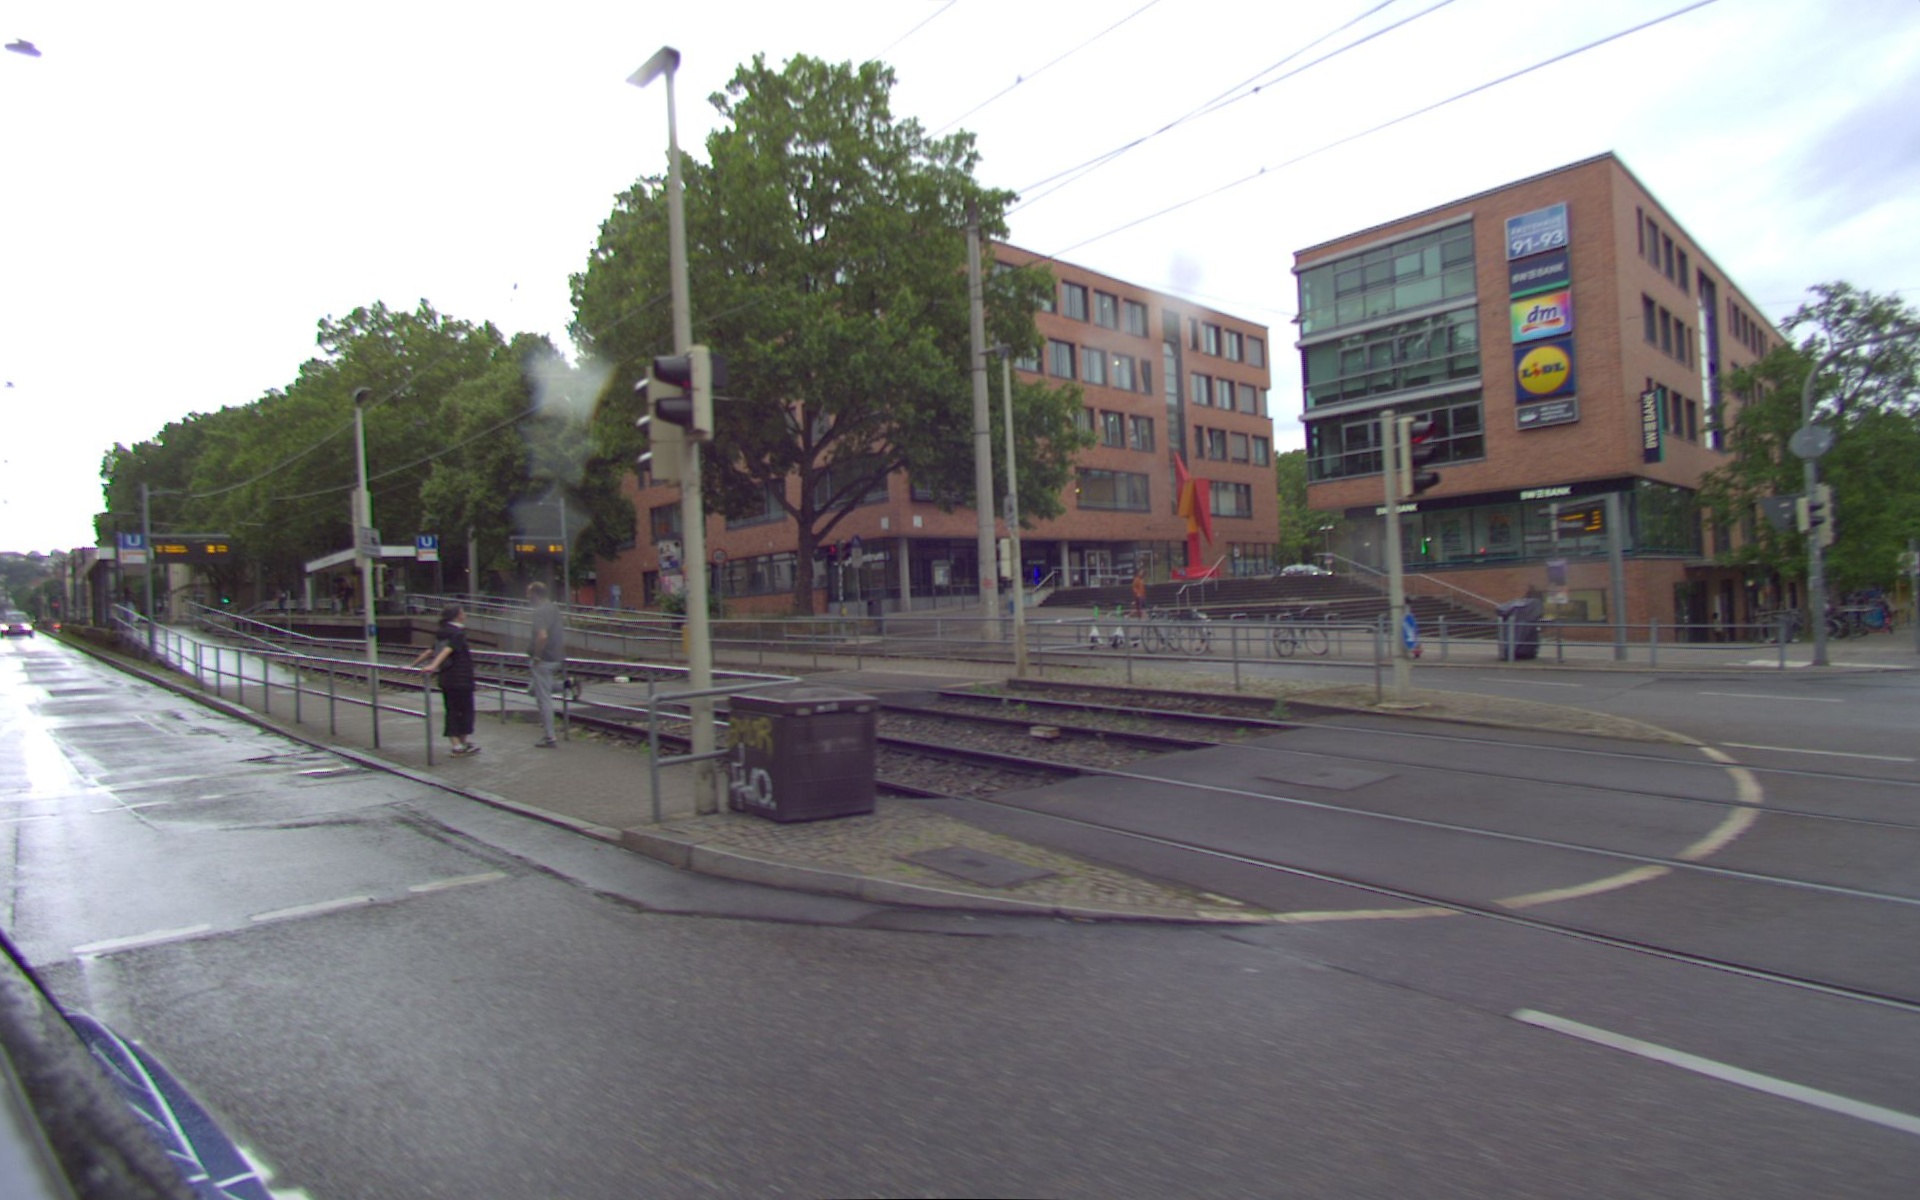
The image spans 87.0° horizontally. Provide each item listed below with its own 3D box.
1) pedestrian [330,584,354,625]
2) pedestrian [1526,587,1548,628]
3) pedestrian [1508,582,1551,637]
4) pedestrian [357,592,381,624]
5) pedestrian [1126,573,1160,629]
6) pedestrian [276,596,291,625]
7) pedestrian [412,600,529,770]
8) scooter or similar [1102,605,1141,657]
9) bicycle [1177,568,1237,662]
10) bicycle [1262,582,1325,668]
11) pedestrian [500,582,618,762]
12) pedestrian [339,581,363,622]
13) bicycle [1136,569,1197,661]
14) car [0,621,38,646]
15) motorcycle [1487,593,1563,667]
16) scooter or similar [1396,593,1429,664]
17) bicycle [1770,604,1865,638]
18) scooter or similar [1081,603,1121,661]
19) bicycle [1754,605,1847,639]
[{"bbox_3d":[-31.871,0.217,52.222,0.884,2.078,0.826,-1,-1,42],"label":"pedestrian"},{"bbox_3d":[22.187,0.284,38.918,0.592,1.578,0.512,-1,0,44],"label":"pedestrian"},{"bbox_3d":[18.494,0.317,32.864,0.886,1.743,1.010,0,-1,-44],"label":"pedestrian"},{"bbox_3d":[-28.456,0.380,48.725,0.884,1.494,0.771,-1,0,42],"label":"pedestrian"},{"bbox_3d":[6.087,0.019,33.697,0.780,1.757,1.072,-1,4,-10],"label":"pedestrian"},{"bbox_3d":[-42.737,0.682,63.972,0.667,1.804,0.704,1,-1,-44],"label":"pedestrian"},{"bbox_3d":[-5.020,0.822,10.368,0.824,1.617,1.003,-1,0,-42],"label":"pedestrian"},{"bbox_3d":[3.929,0.724,24.540,0.476,1.203,1.704,-1,0,25],"label":"scooter or similar"},{"bbox_3d":[5.583,0.304,22.825,0.518,2.029,1.872,-1,1,39],"label":"bicycle"},{"bbox_3d":[7.125,0.499,21.549,0.556,1.710,2.070,0,2,39],"label":"bicycle"},{"bbox_3d":[-4.292,0.726,10.823,1.002,1.812,0.816,-1,-1,44],"label":"pedestrian"},{"bbox_3d":[-30.916,0.065,51.364,0.884,2.078,0.826,-1,-1,42],"label":"pedestrian"},{"bbox_3d":[4.804,0.318,23.451,0.518,2.029,1.872,-1,1,39],"label":"bicycle"},{"bbox_3d":[-59.670,2.110,64.002,1.857,1.458,4.003,-1,0,-44],"label":"car"},{"bbox_3d":[11.347,0.560,20.275,0.865,1.381,2.624,-1,0,39],"label":"motorcycle"},{"bbox_3d":[9.310,0.567,20.799,0.451,1.381,1.492,-2,0,29],"label":"scooter or similar"},{"bbox_3d":[29.422,0.725,34.750,0.839,1.109,2.371,-1,0,-41],"label":"bicycle"},{"bbox_3d":[3.505,0.778,25.072,0.451,1.381,1.492,-2,0,29],"label":"scooter or similar"},{"bbox_3d":[28.389,0.747,34.229,2.365,1.109,0.691,-1,0,39],"label":"bicycle"}]
